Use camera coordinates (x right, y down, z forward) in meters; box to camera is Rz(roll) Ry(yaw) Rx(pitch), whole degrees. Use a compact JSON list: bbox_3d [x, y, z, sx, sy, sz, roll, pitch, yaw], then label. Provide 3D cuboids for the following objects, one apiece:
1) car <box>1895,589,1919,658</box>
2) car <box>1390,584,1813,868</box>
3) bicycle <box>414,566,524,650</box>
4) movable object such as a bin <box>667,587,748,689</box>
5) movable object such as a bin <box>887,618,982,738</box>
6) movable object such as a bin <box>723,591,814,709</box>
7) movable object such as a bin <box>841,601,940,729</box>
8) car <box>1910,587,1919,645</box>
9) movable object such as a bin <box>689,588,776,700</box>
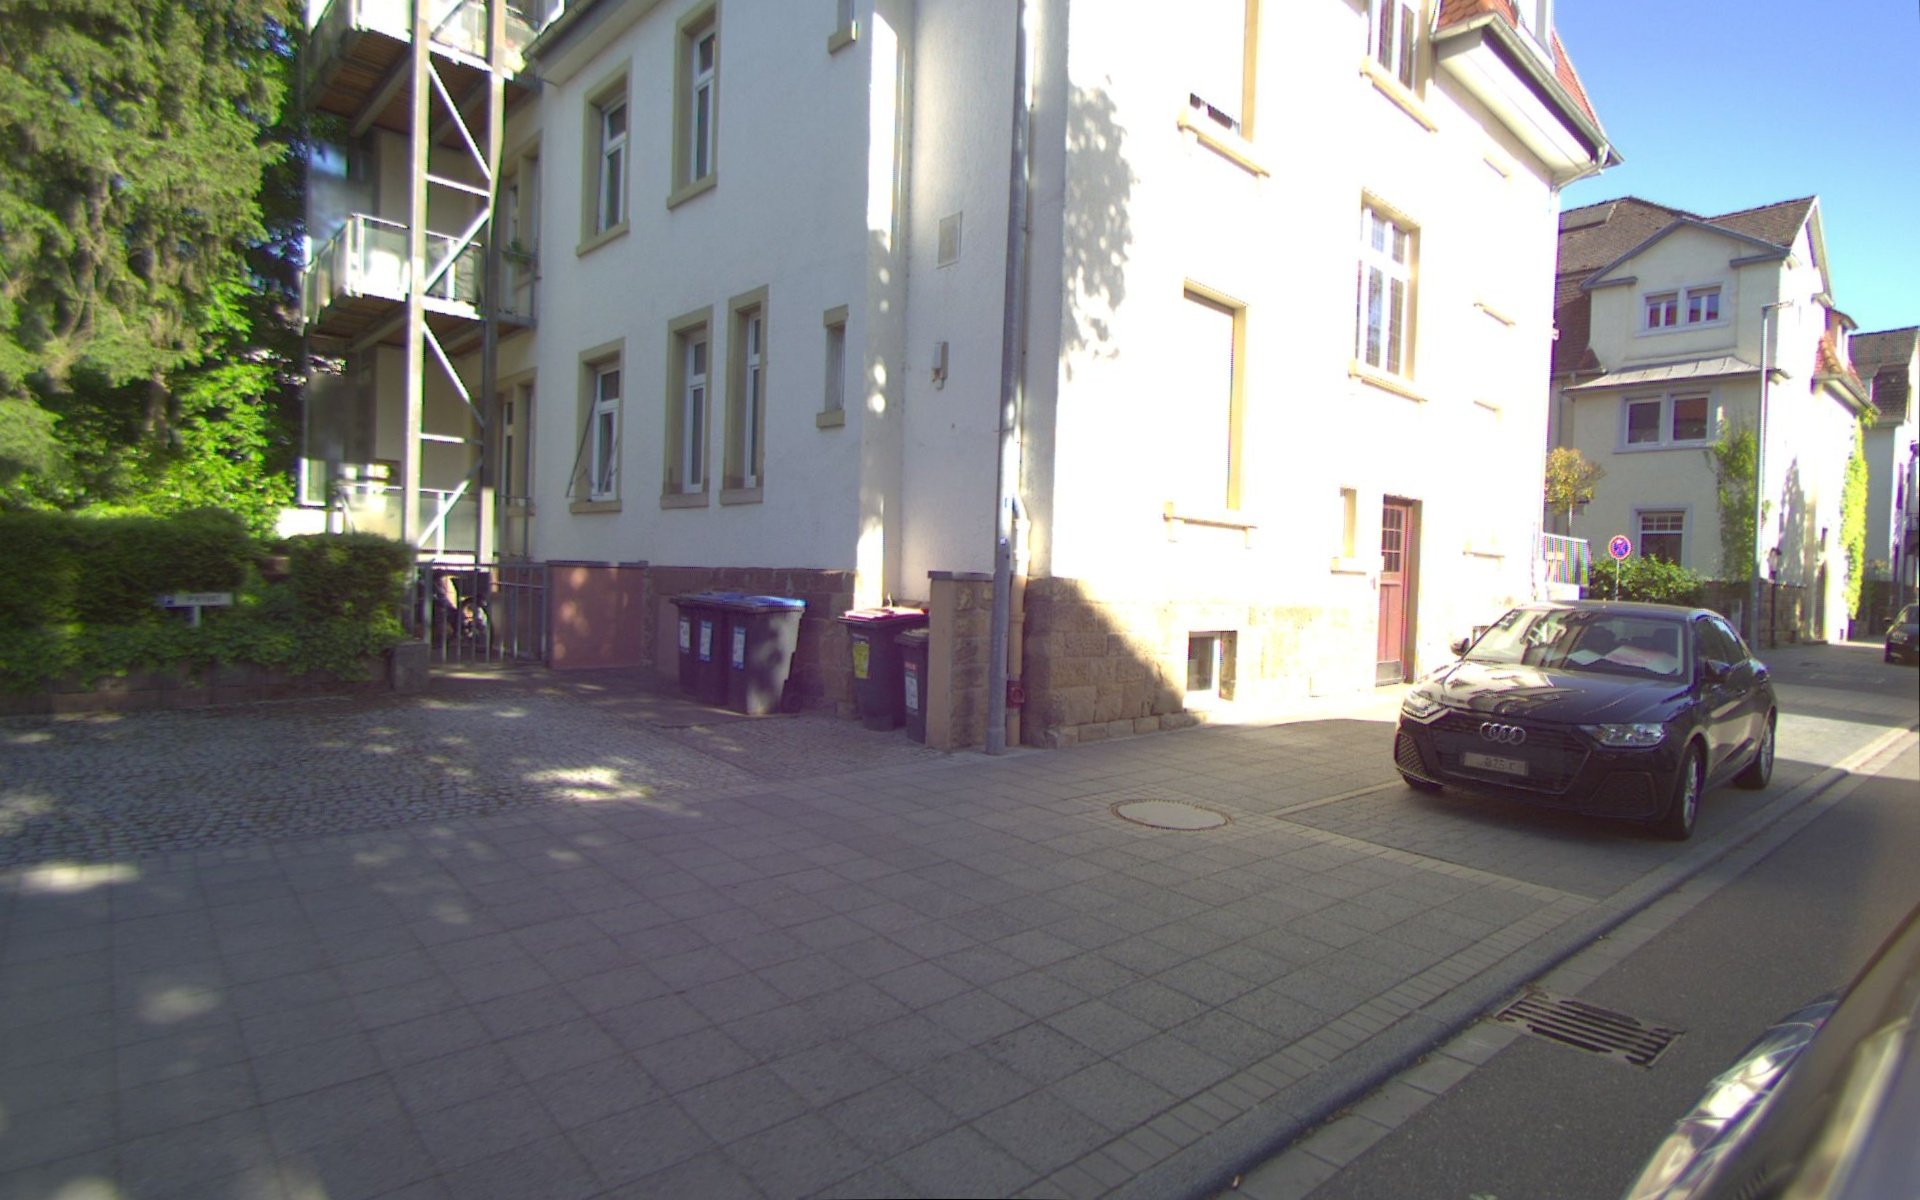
[{"bbox_3d":[24.082,0.561,24.628,3.936,1.538,1.664,-2,4,-44],"label":"car"},{"bbox_3d":[4.879,0.693,7.472,3.868,1.457,1.623,0,4,-43],"label":"car"},{"bbox_3d":[-6.498,0.083,13.359,1.900,1.013,0.360,3,3,32],"label":"bicycle"},{"bbox_3d":[-2.622,0.374,10.525,0.644,1.015,0.518,-1,0,-44],"label":"movable object such as a bin"},{"bbox_3d":[-0.213,0.641,8.607,0.642,0.948,0.486,-1,0,-44],"label":"movable object such as a bin"},{"bbox_3d":[-1.807,0.449,9.564,0.644,1.063,0.556,-1,0,-44],"label":"movable object such as a bin"},{"bbox_3d":[-0.622,0.556,9.110,0.685,1.076,0.556,-1,0,-44],"label":"movable object such as a bin"},{"bbox_3d":[28.057,0.456,28.247,4.291,1.538,1.795,-1,4,-41],"label":"car"},{"bbox_3d":[-2.247,0.411,9.990,0.644,1.057,0.553,-1,0,-44],"label":"movable object such as a bin"}]
